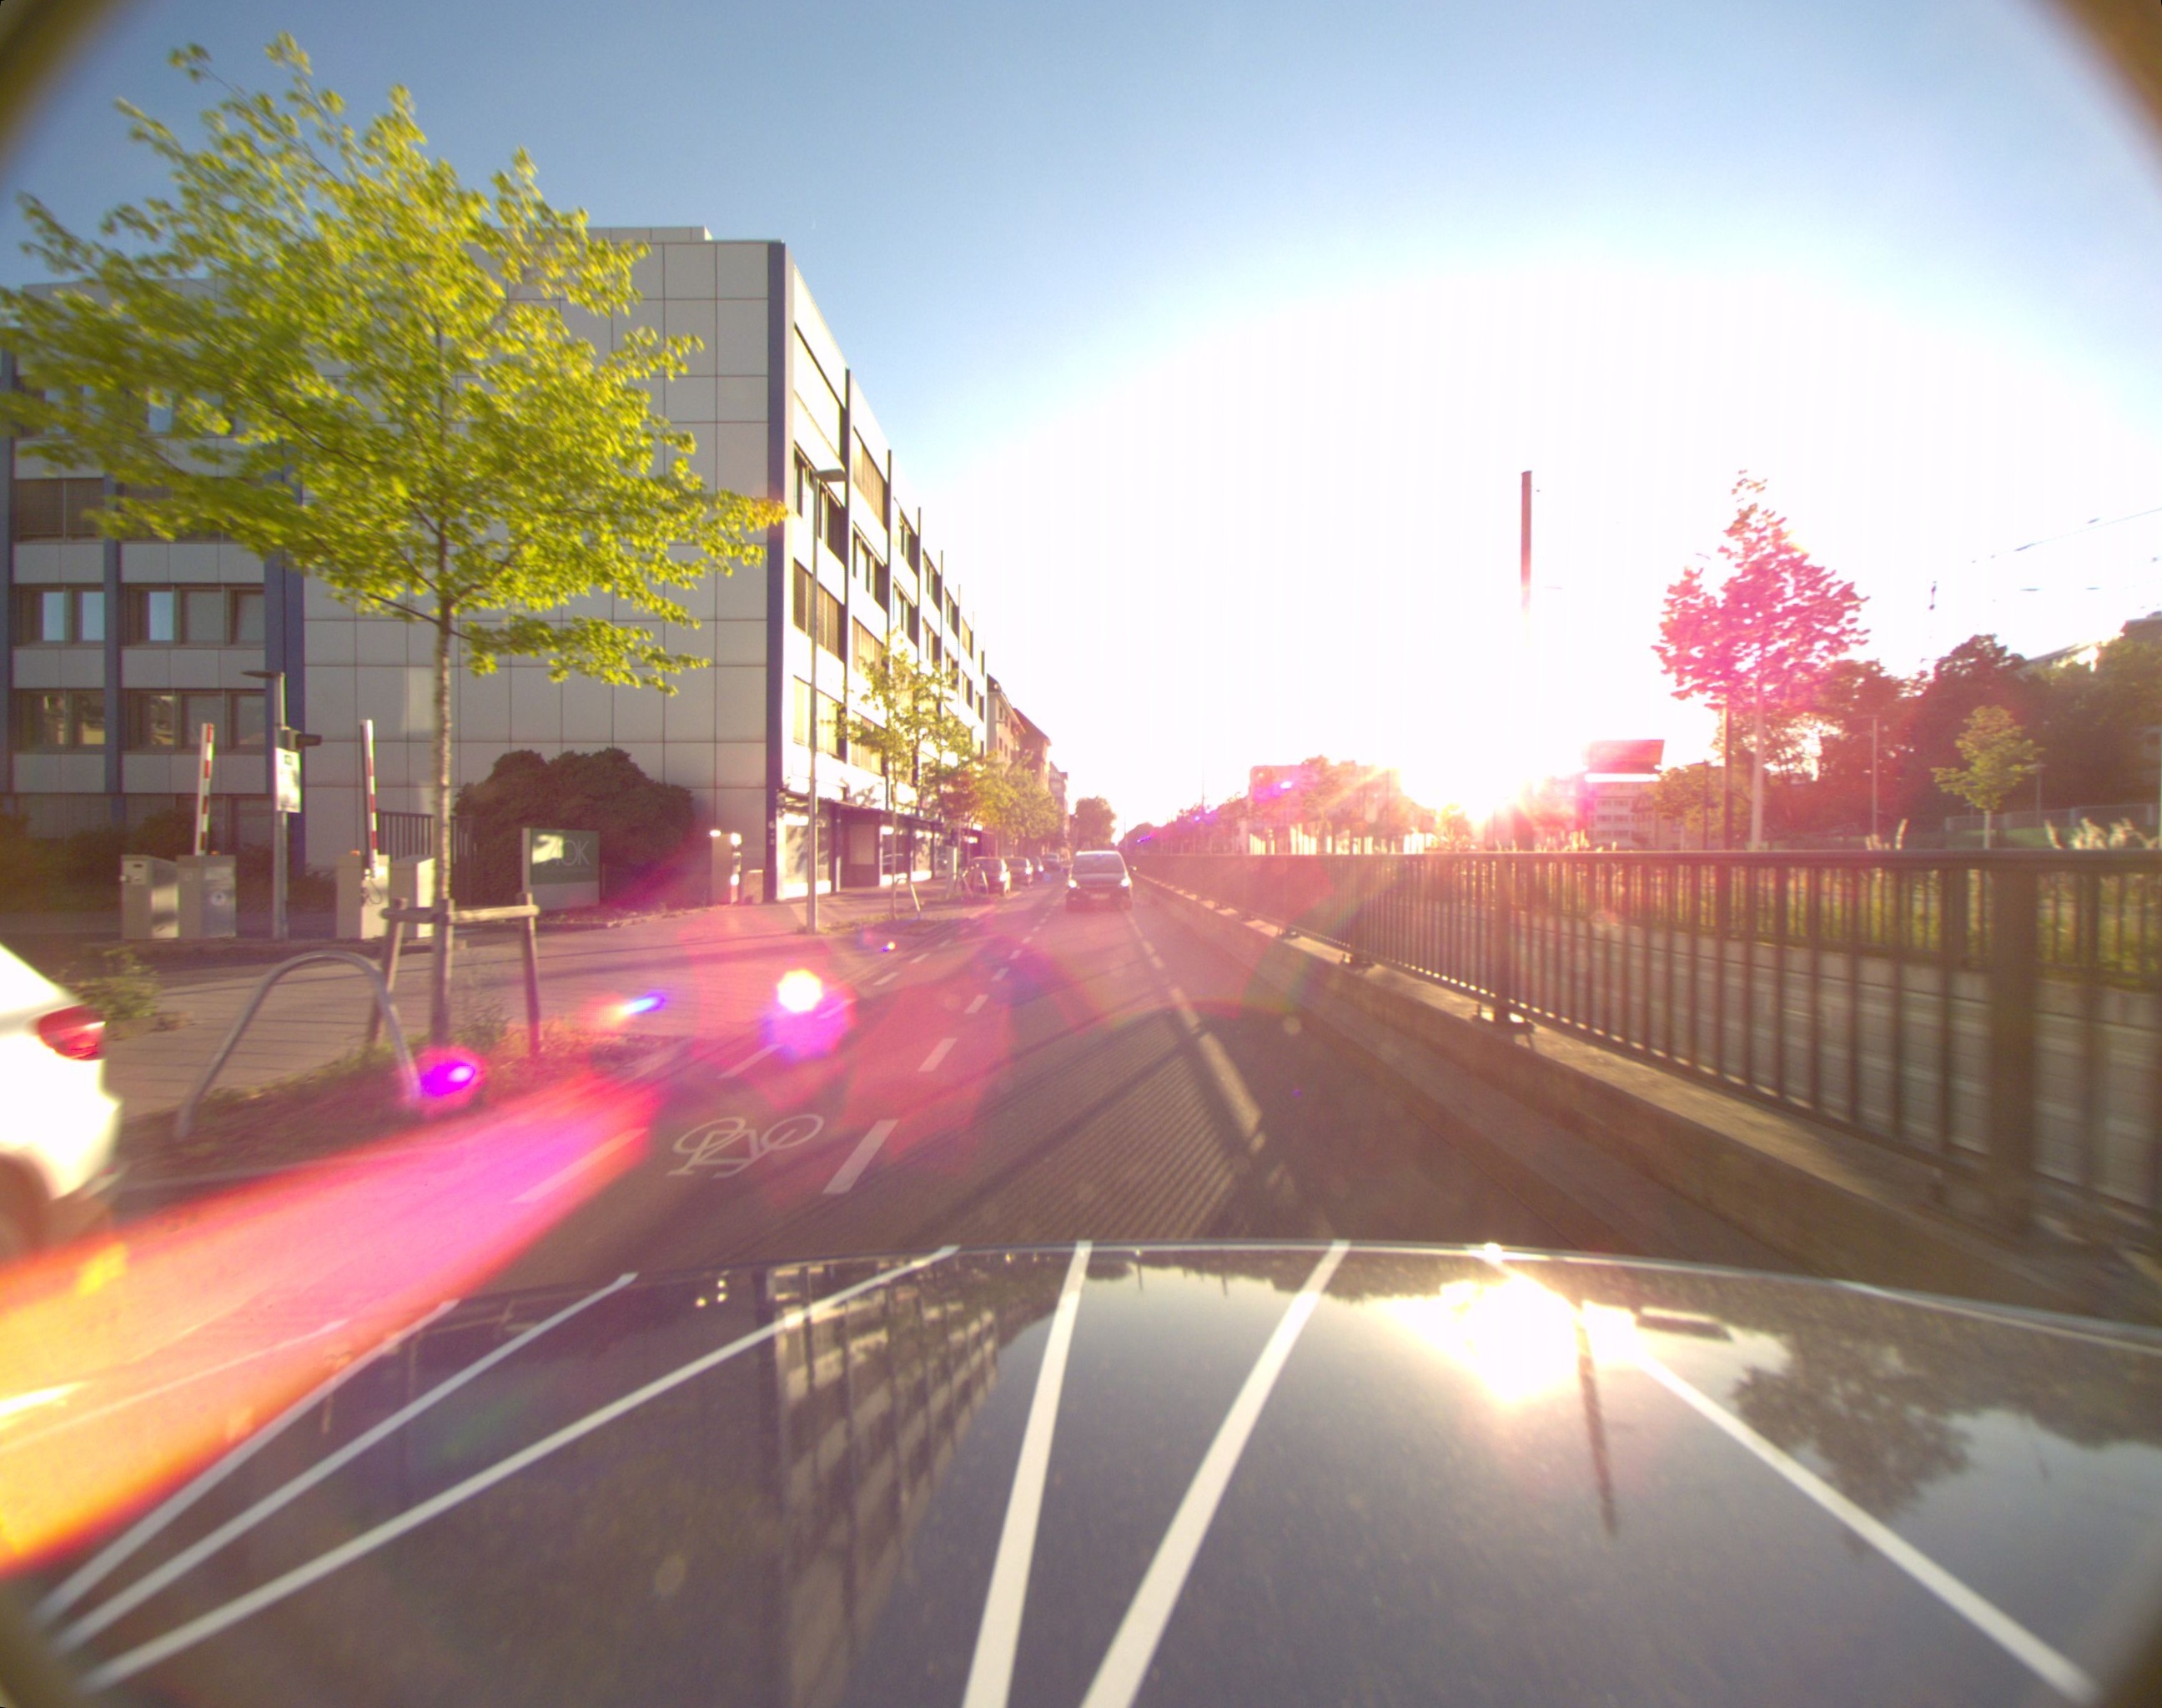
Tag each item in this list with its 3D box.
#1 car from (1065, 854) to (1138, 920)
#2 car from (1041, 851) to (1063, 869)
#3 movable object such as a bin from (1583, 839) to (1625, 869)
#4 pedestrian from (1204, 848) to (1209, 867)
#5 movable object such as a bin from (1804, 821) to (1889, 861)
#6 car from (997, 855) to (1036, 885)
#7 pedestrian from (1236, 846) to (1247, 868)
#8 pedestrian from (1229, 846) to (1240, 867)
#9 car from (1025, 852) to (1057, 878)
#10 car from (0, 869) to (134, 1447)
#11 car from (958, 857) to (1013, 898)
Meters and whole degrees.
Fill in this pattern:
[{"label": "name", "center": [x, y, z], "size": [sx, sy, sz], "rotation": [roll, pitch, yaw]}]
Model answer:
[{"label": "car", "center": [0.515, 0.822, 21.065], "size": [1.800, 1.609, 4.386], "rotation": [0, 0, 0]}, {"label": "car", "center": [-2.708, 0.528, 72.627], "size": [1.761, 1.644, 4.528], "rotation": [2, 0, 1]}, {"label": "movable object such as a bin", "center": [49.459, -0.005, 71.963], "size": [1.996, 2.690, 4.004], "rotation": [0, 1, 14]}, {"label": "pedestrian", "center": [12.207, 0.351, 74.157], "size": [0.472, 1.776, 0.626], "rotation": [0, 1, 8]}, {"label": "movable object such as a bin", "center": [53.667, -0.876, 53.387], "size": [1.998, 2.690, 4.001], "rotation": [0, 1, 3]}, {"label": "car", "center": [-3.342, 0.805, 39.955], "size": [1.688, 1.446, 4.129], "rotation": [1, 0, 0]}, {"label": "pedestrian", "center": [12.392, 0.218, 58.605], "size": [0.636, 1.719, 0.635], "rotation": [0, 1, -11]}, {"label": "pedestrian", "center": [12.857, 0.220, 63.754], "size": [0.727, 1.734, 0.636], "rotation": [-1, 0, -7]}, {"label": "car", "center": [-2.580, 0.686, 50.037], "size": [1.824, 1.557, 4.809], "rotation": [3, 0, -1]}, {"label": "car", "center": [-4.085, 0.902, 0.404], "size": [1.859, 1.697, 4.253], "rotation": [0, 0, -1]}, {"label": "car", "center": [-3.647, 0.863, 29.721], "size": [1.824, 1.446, 4.127], "rotation": [1, 0, -3]}]
